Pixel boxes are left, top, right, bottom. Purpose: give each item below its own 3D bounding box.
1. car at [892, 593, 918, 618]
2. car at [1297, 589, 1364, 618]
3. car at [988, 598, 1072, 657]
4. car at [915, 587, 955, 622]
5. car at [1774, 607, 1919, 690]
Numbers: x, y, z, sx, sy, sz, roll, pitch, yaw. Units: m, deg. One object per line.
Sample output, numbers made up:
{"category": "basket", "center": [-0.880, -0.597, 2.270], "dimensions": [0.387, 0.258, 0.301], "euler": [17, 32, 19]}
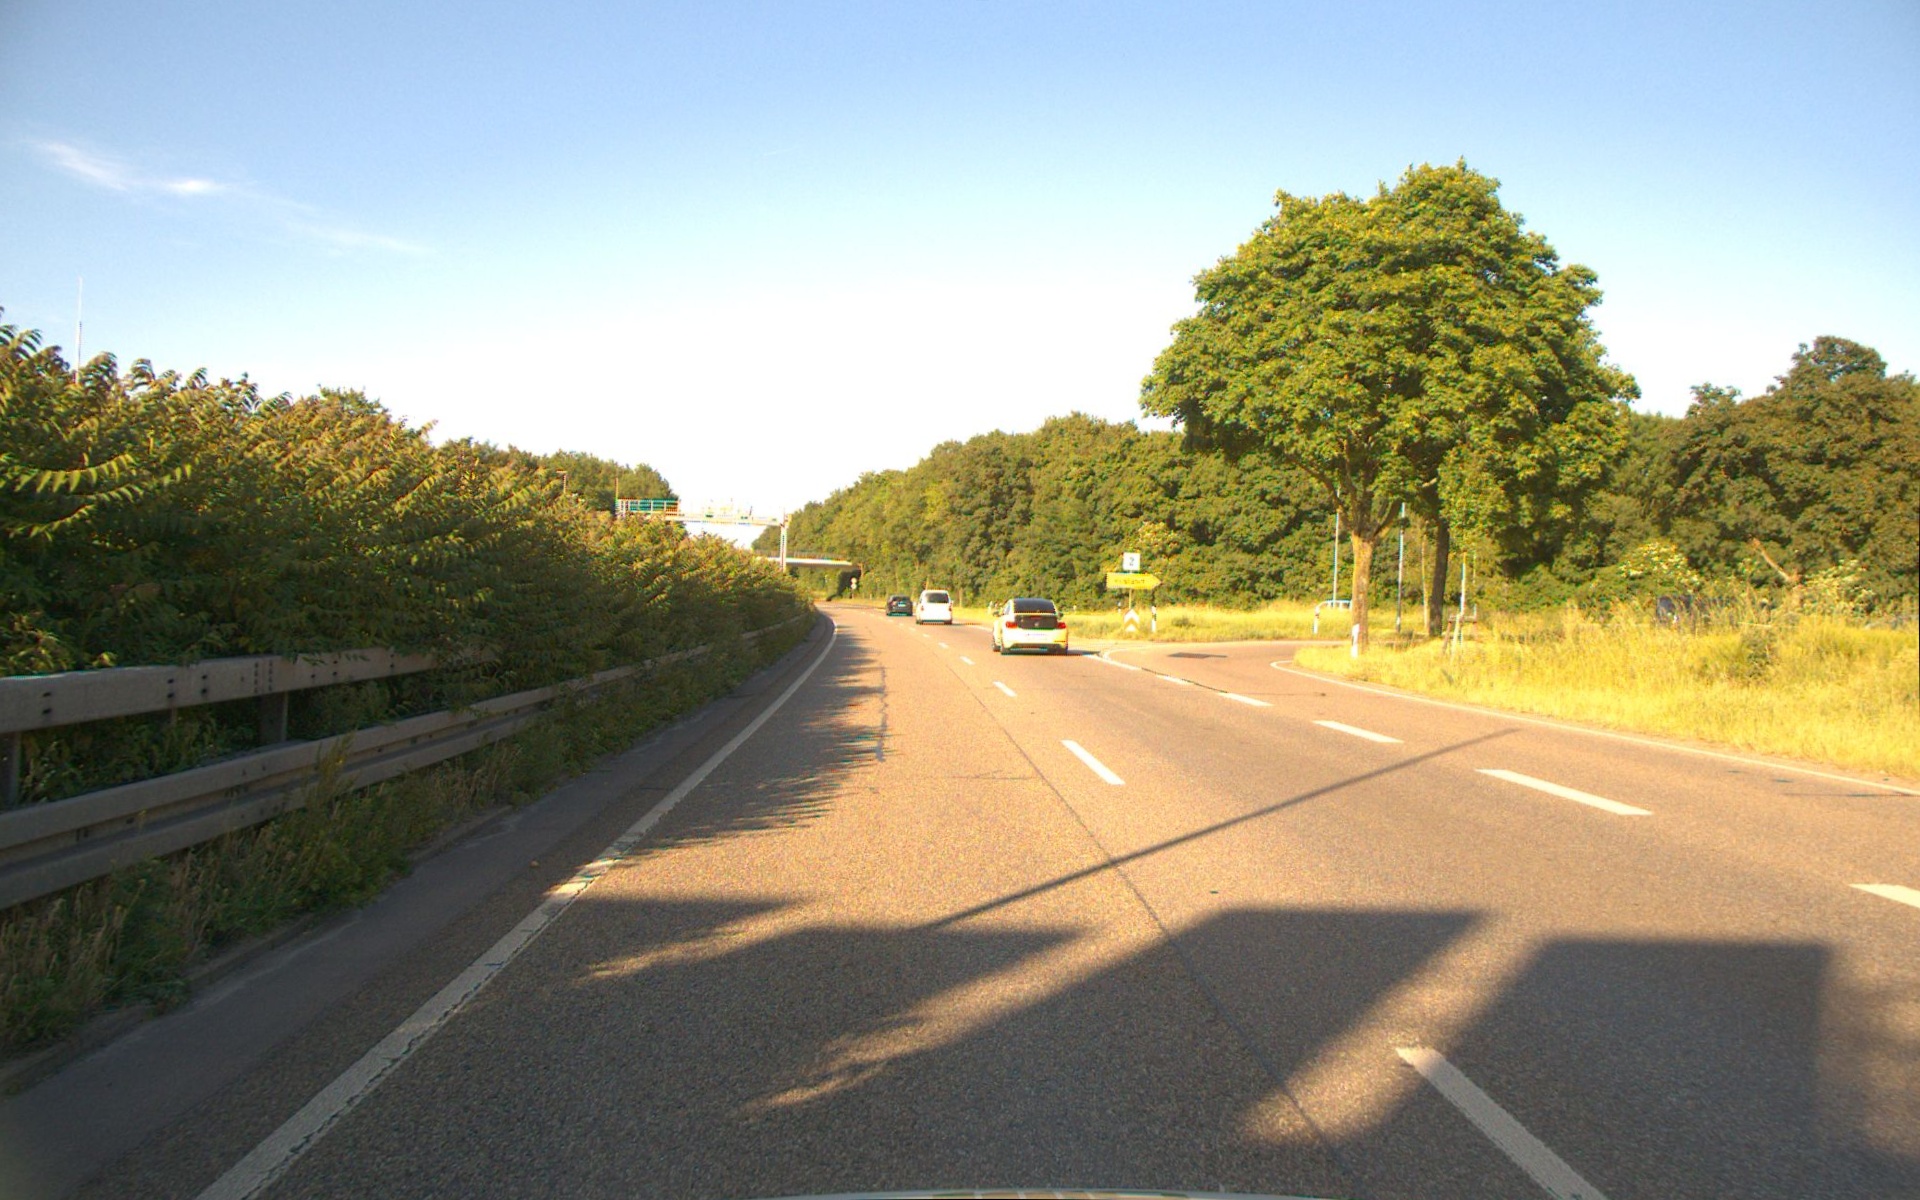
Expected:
{"category": "car", "center": [-4.010, 0.386, 119.773], "dimensions": [1.859, 1.798, 3.998], "euler": [1, 0, -2]}
{"category": "car", "center": [24.718, 0.223, 110.362], "dimensions": [3.930, 1.856, 1.891], "euler": [1, 0, 43]}
{"category": "car", "center": [1.848, 0.703, 44.619], "dimensions": [1.859, 1.496, 3.997], "euler": [1, 0, -4]}
{"category": "car", "center": [-1.351, 0.246, 87.344], "dimensions": [1.860, 1.798, 3.996], "euler": [1, 0, -5]}
{"category": "car", "center": [21.813, 1.191, 38.393], "dimensions": [4.764, 1.708, 2.221], "euler": [4, -1, -8]}
